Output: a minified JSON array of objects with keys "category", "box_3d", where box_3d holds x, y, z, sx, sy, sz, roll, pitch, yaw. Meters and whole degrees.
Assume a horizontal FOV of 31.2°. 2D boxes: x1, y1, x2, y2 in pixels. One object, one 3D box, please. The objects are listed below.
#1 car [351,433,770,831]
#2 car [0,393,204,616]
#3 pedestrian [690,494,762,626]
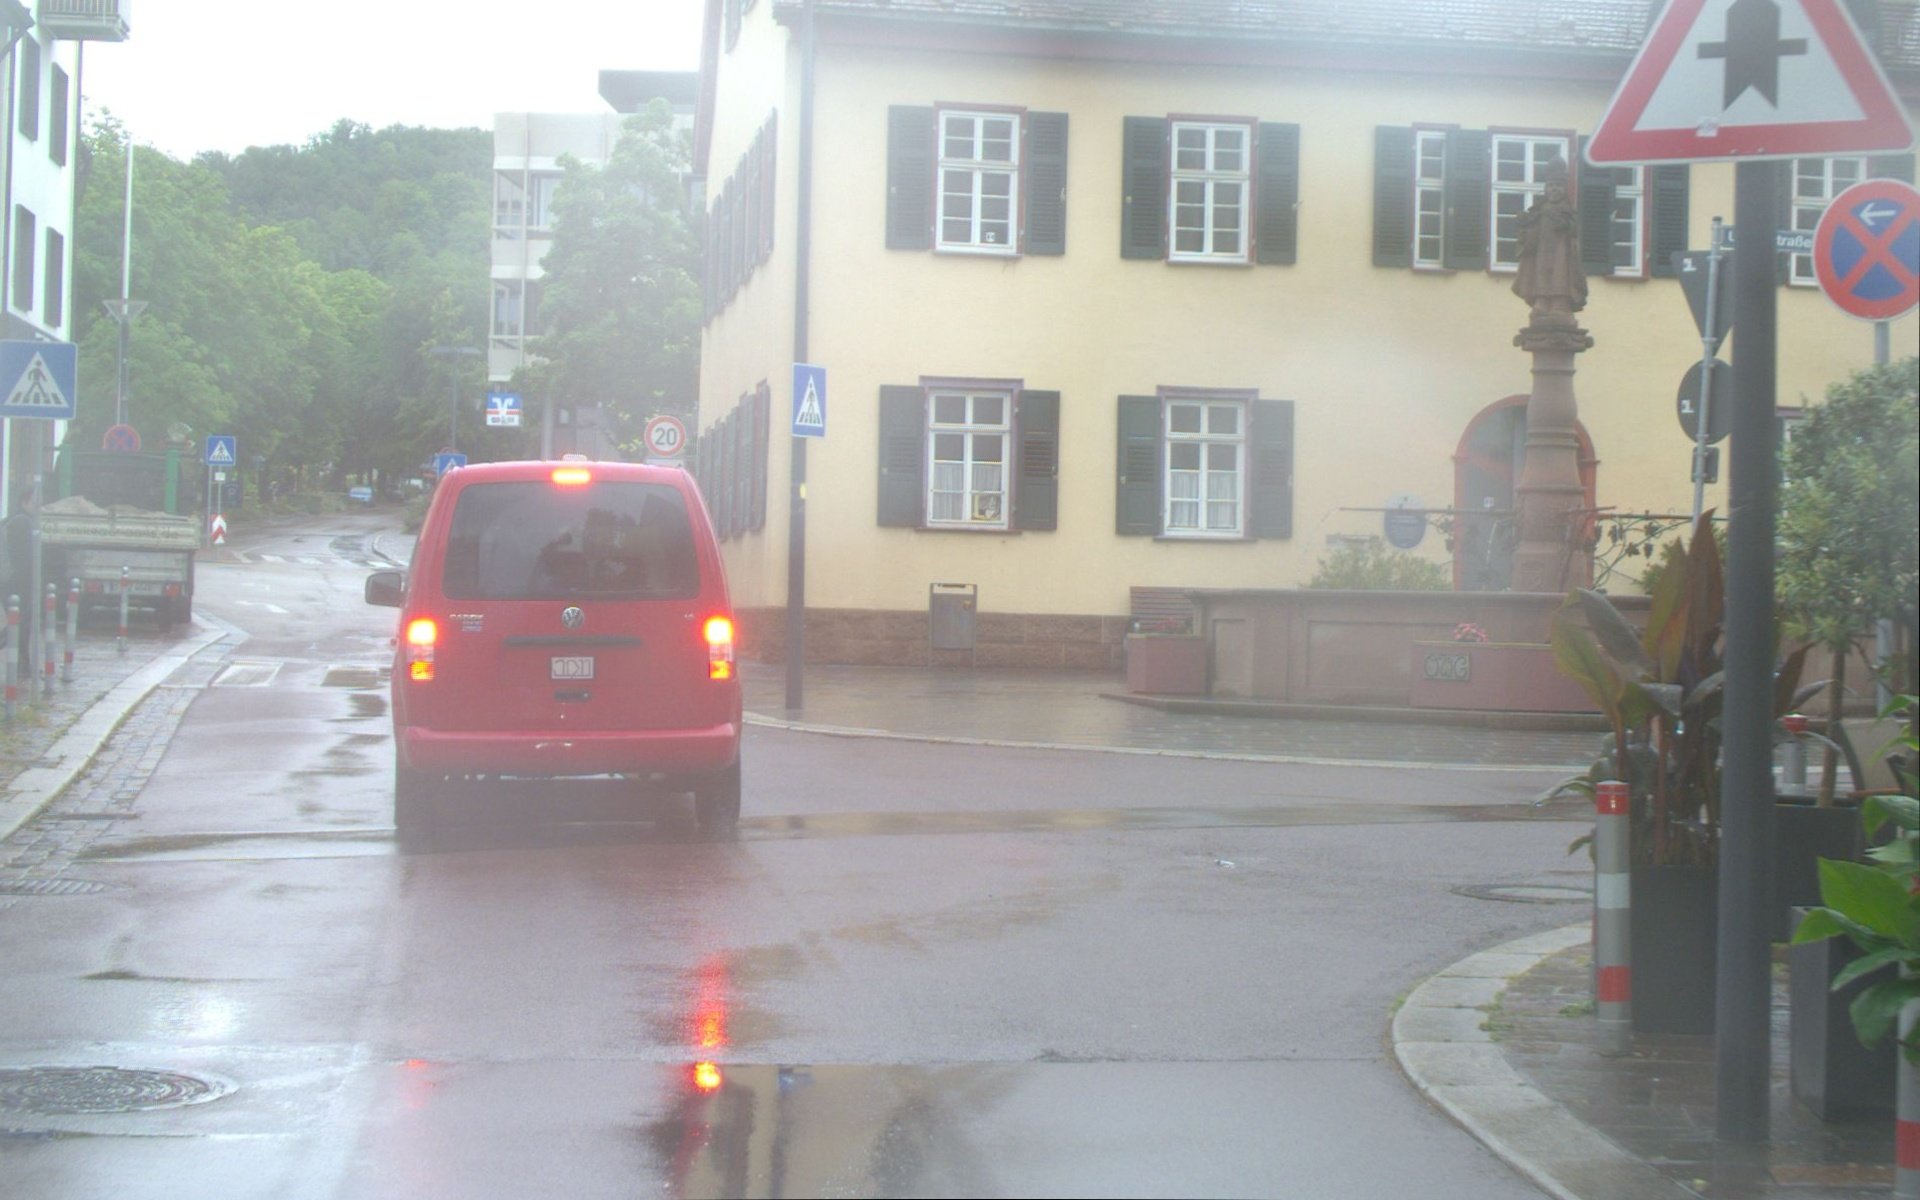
[{"category":"car","box_3d":[-2.210,0.096,18.298,1.893,1.805,4.001,3,1,-9]},{"category":"car","box_3d":[-11.220,-1.141,45.247,2.299,2.593,6.960,3,-1,-12]},{"category":"pedestrian","box_3d":[-3.359,-0.567,49.483,0.764,1.836,0.901,2,-1,10]}]
